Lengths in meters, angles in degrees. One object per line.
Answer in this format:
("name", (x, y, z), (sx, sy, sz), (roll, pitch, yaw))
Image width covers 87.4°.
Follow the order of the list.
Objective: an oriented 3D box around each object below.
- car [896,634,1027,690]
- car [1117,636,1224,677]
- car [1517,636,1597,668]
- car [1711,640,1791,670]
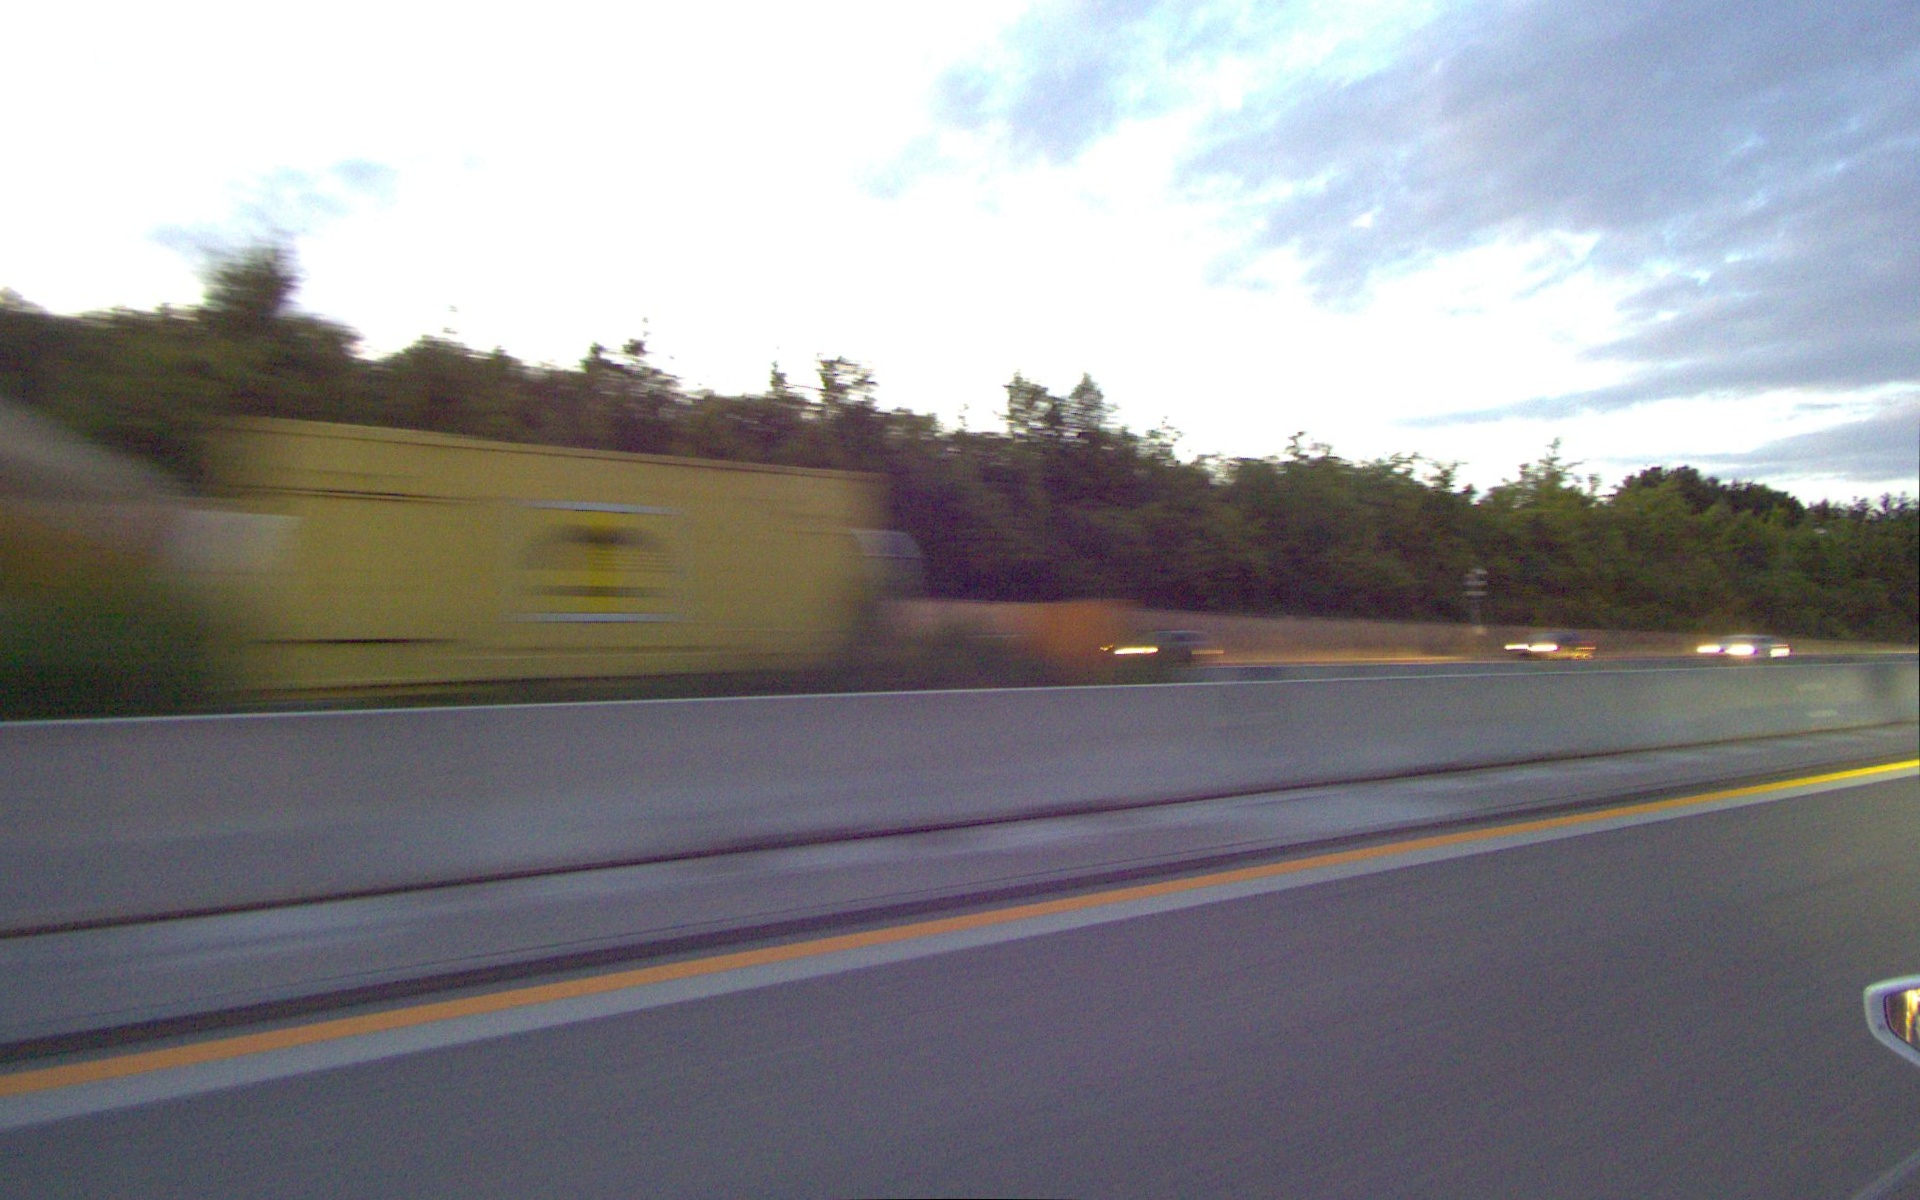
("car", (0.058, 1.930, 31.738), (3.747, 1.591, 1.789), (2, 0, -30))
("car", (8.317, 2.210, 39.698), (4.044, 1.489, 1.570), (2, 0, -28))
("car", (30.598, 2.662, 51.486), (4.173, 1.489, 1.570), (2, 0, -28))
("car", (42.746, 2.951, 54.265), (4.587, 1.489, 1.666), (2, 0, -27))
